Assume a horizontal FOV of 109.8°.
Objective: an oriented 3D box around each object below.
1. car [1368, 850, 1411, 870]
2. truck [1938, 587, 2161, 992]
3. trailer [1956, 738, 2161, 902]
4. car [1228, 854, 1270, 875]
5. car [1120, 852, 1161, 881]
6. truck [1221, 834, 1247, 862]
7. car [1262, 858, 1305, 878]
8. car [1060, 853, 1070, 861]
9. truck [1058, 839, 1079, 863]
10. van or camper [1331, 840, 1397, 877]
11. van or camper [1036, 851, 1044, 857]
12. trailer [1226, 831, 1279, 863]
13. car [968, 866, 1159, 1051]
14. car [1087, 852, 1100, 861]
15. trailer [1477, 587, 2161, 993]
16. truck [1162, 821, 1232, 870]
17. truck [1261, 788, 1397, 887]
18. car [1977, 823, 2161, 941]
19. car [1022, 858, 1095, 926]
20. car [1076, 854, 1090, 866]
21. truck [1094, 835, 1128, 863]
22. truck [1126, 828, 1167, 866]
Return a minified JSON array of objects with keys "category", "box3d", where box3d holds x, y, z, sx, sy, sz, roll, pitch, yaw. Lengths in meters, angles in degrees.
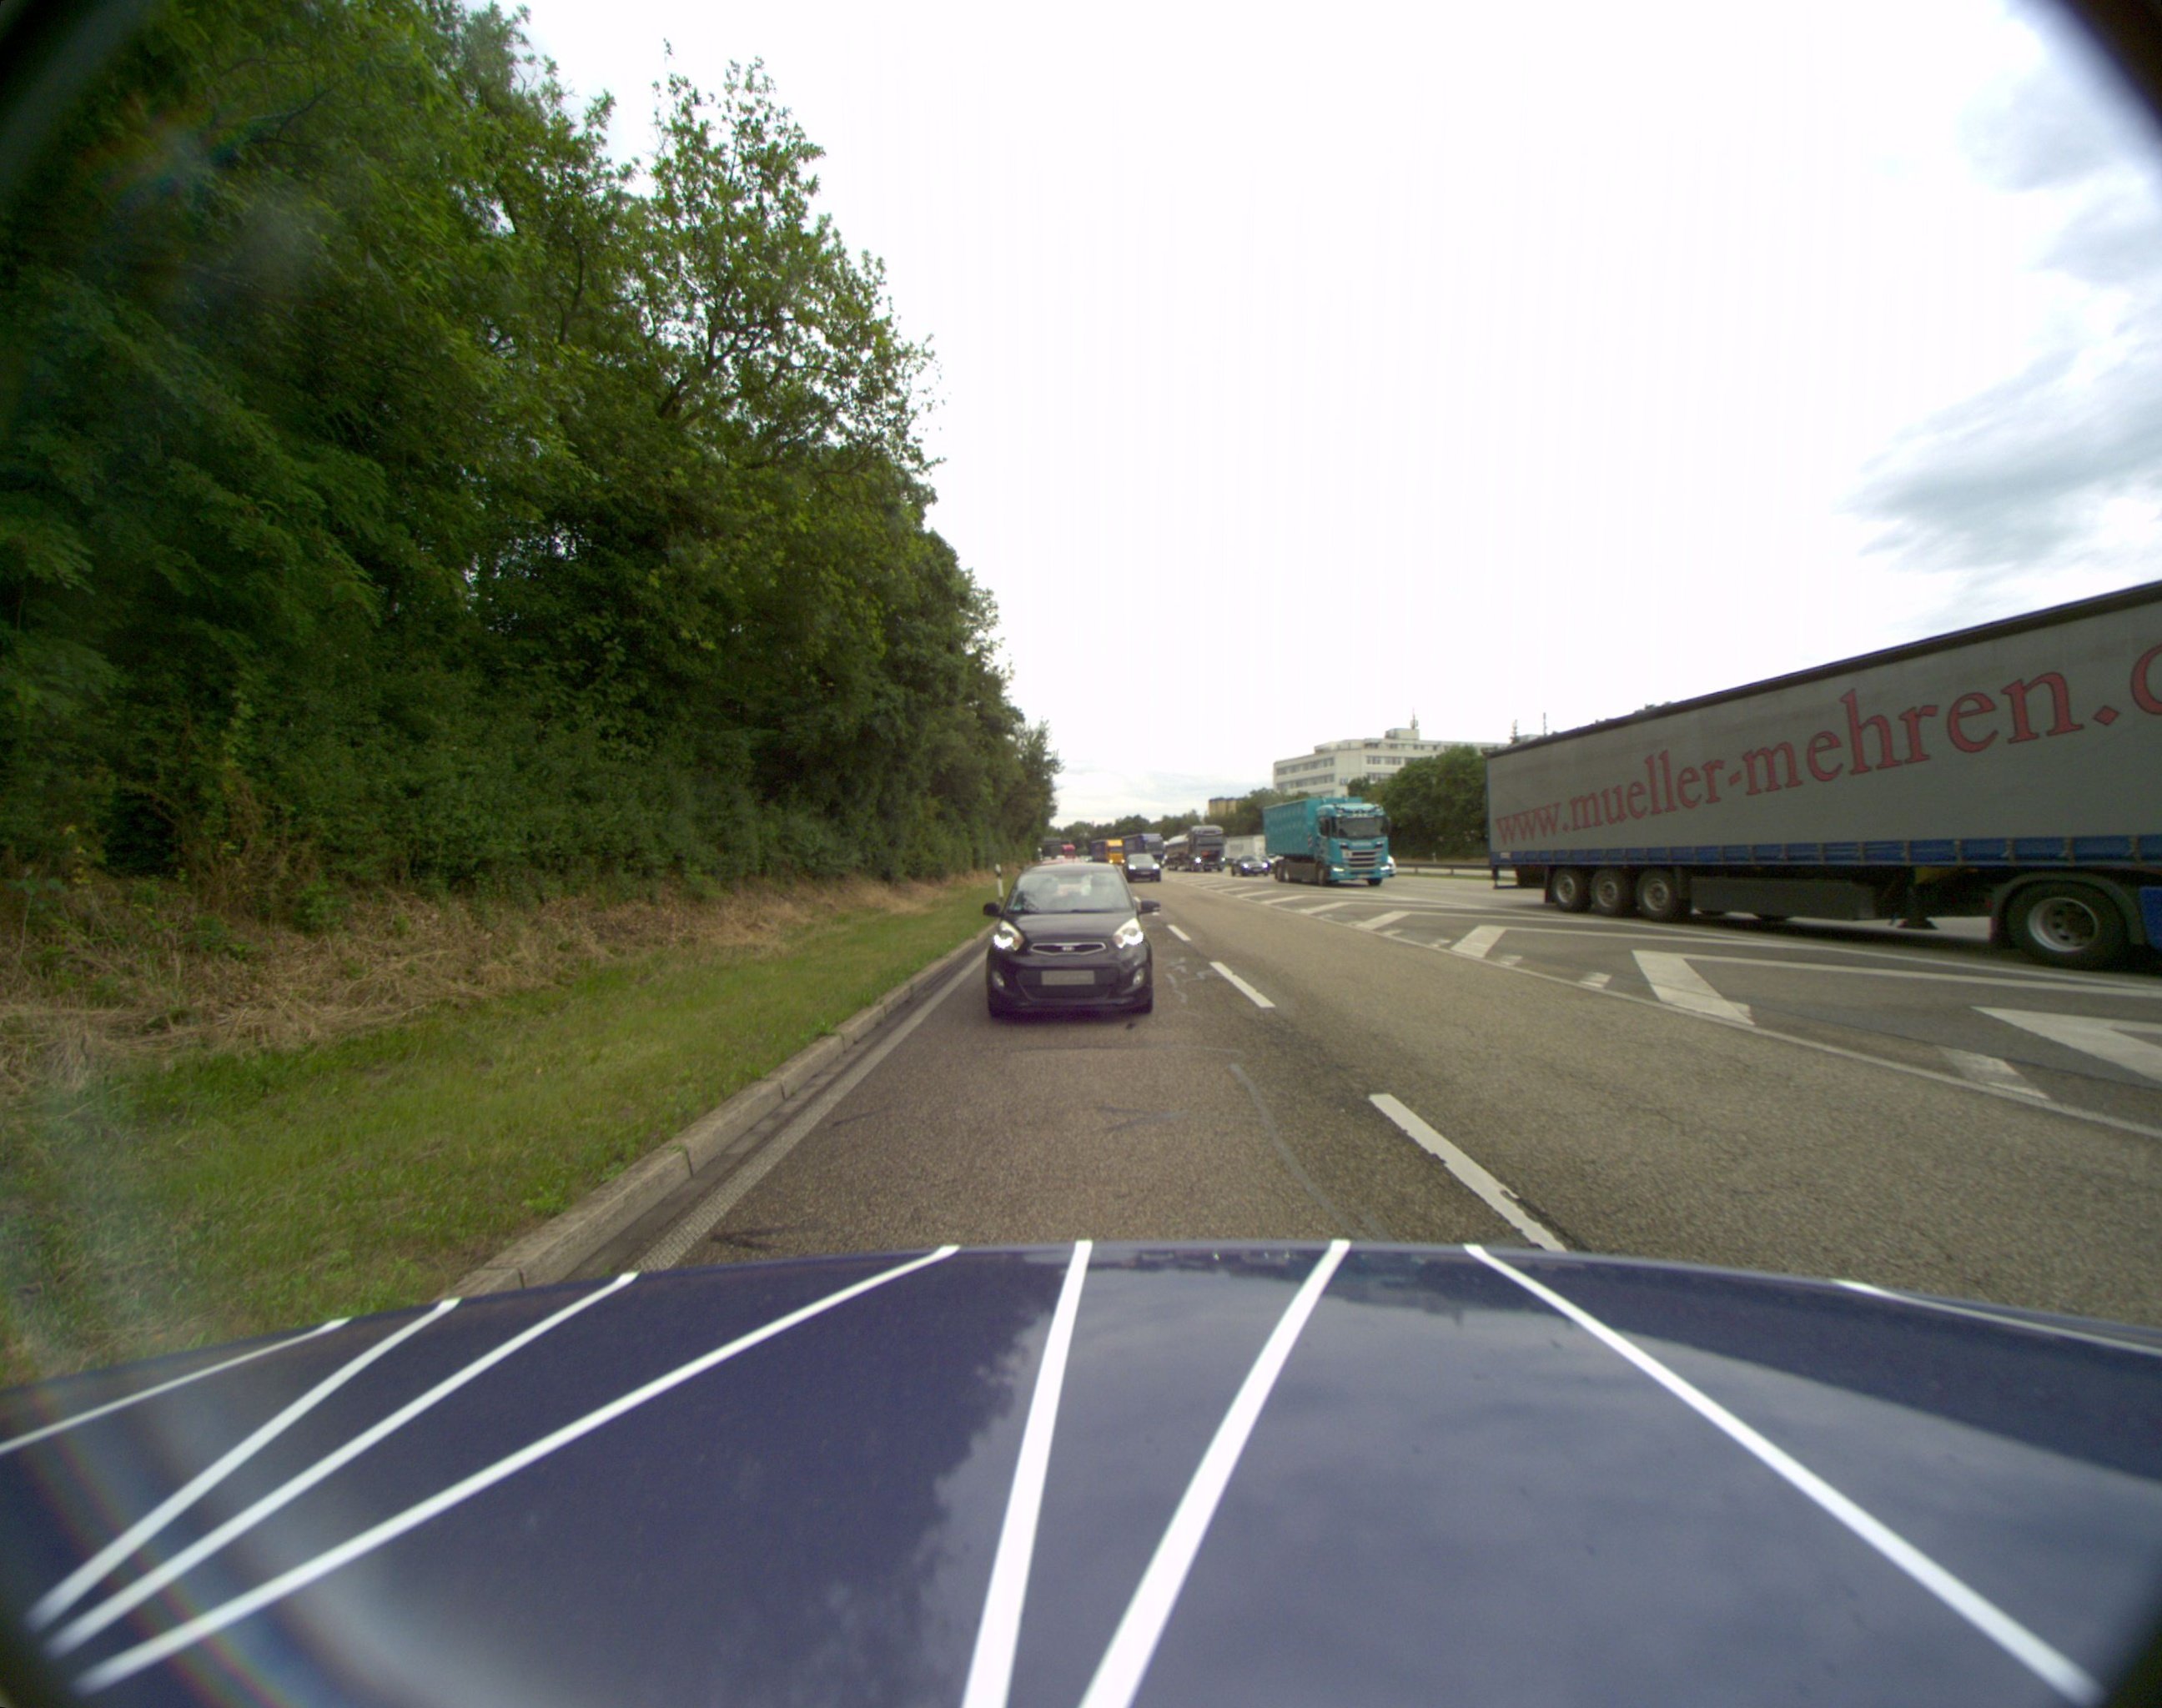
[{"category":"car","box3d":[22.580,0.443,55.712,1.497,1.425,3.563,-1,0,-3]},{"category":"truck","box3d":[11.853,-0.647,6.354,2.675,3.938,5.927,-1,0,0]},{"category":"trailer","box3d":[28.039,-0.858,16.493,2.771,4.040,13.352,-1,0,1]},{"category":"car","box3d":[10.953,0.654,49.769,1.757,1.314,3.999,-1,0,-1]},{"category":"car","box3d":[3.577,0.720,46.495,1.906,1.653,4.750,-1,0,-3]},{"category":"truck","box3d":[22.172,-0.872,110.045,2.604,3.967,3.998,-1,0,-6]},{"category":"car","box3d":[15.114,1.024,56.875,1.898,1.425,4.054,-1,0,-3]},{"category":"car","box3d":[-3.121,0.595,145.339,1.583,1.442,3.388,-1,0,-5]},{"category":"truck","box3d":[-2.961,-0.715,170.406,2.848,5.070,14.110,-1,0,-8]},{"category":"van or camper","box3d":[15.605,0.243,42.153,1.720,1.881,4.590,-1,0,-3]},{"category":"van or camper","box3d":[-11.287,-0.043,209.136,1.707,1.685,3.824,-1,0,-9]},{"category":"trailer","box3d":[22.929,-0.871,102.711,2.601,3.959,13.775,-1,0,-6]},{"category":"car","box3d":[-0.121,0.923,8.481,1.584,1.485,4.000,-2,0,1]},{"category":"car","box3d":[2.401,0.528,144.839,1.700,1.704,3.864,-1,0,-9]},{"category":"trailer","box3d":[11.859,-0.652,13.185,2.680,3.951,13.919,-1,0,0]},{"category":"truck","box3d":[10.214,-0.701,68.850,3.329,3.902,13.140,-1,0,-4]},{"category":"truck","box3d":[11.243,-0.671,35.843,2.700,3.977,10.122,-1,0,-2]},{"category":"car","box3d":[16.124,0.379,10.387,1.789,1.668,5.085,-1,0,1]},{"category":"car","box3d":[-0.530,0.874,19.051,1.631,1.492,3.563,-1,0,0]},{"category":"car","box3d":[0.253,0.750,100.398,1.602,1.543,3.301,-1,0,-3]},{"category":"truck","box3d":[4.776,-0.748,123.487,2.848,4.206,14.110,-1,0,-8]},{"category":"truck","box3d":[7.874,-0.810,93.234,2.814,4.206,14.001,-1,0,-4]}]
